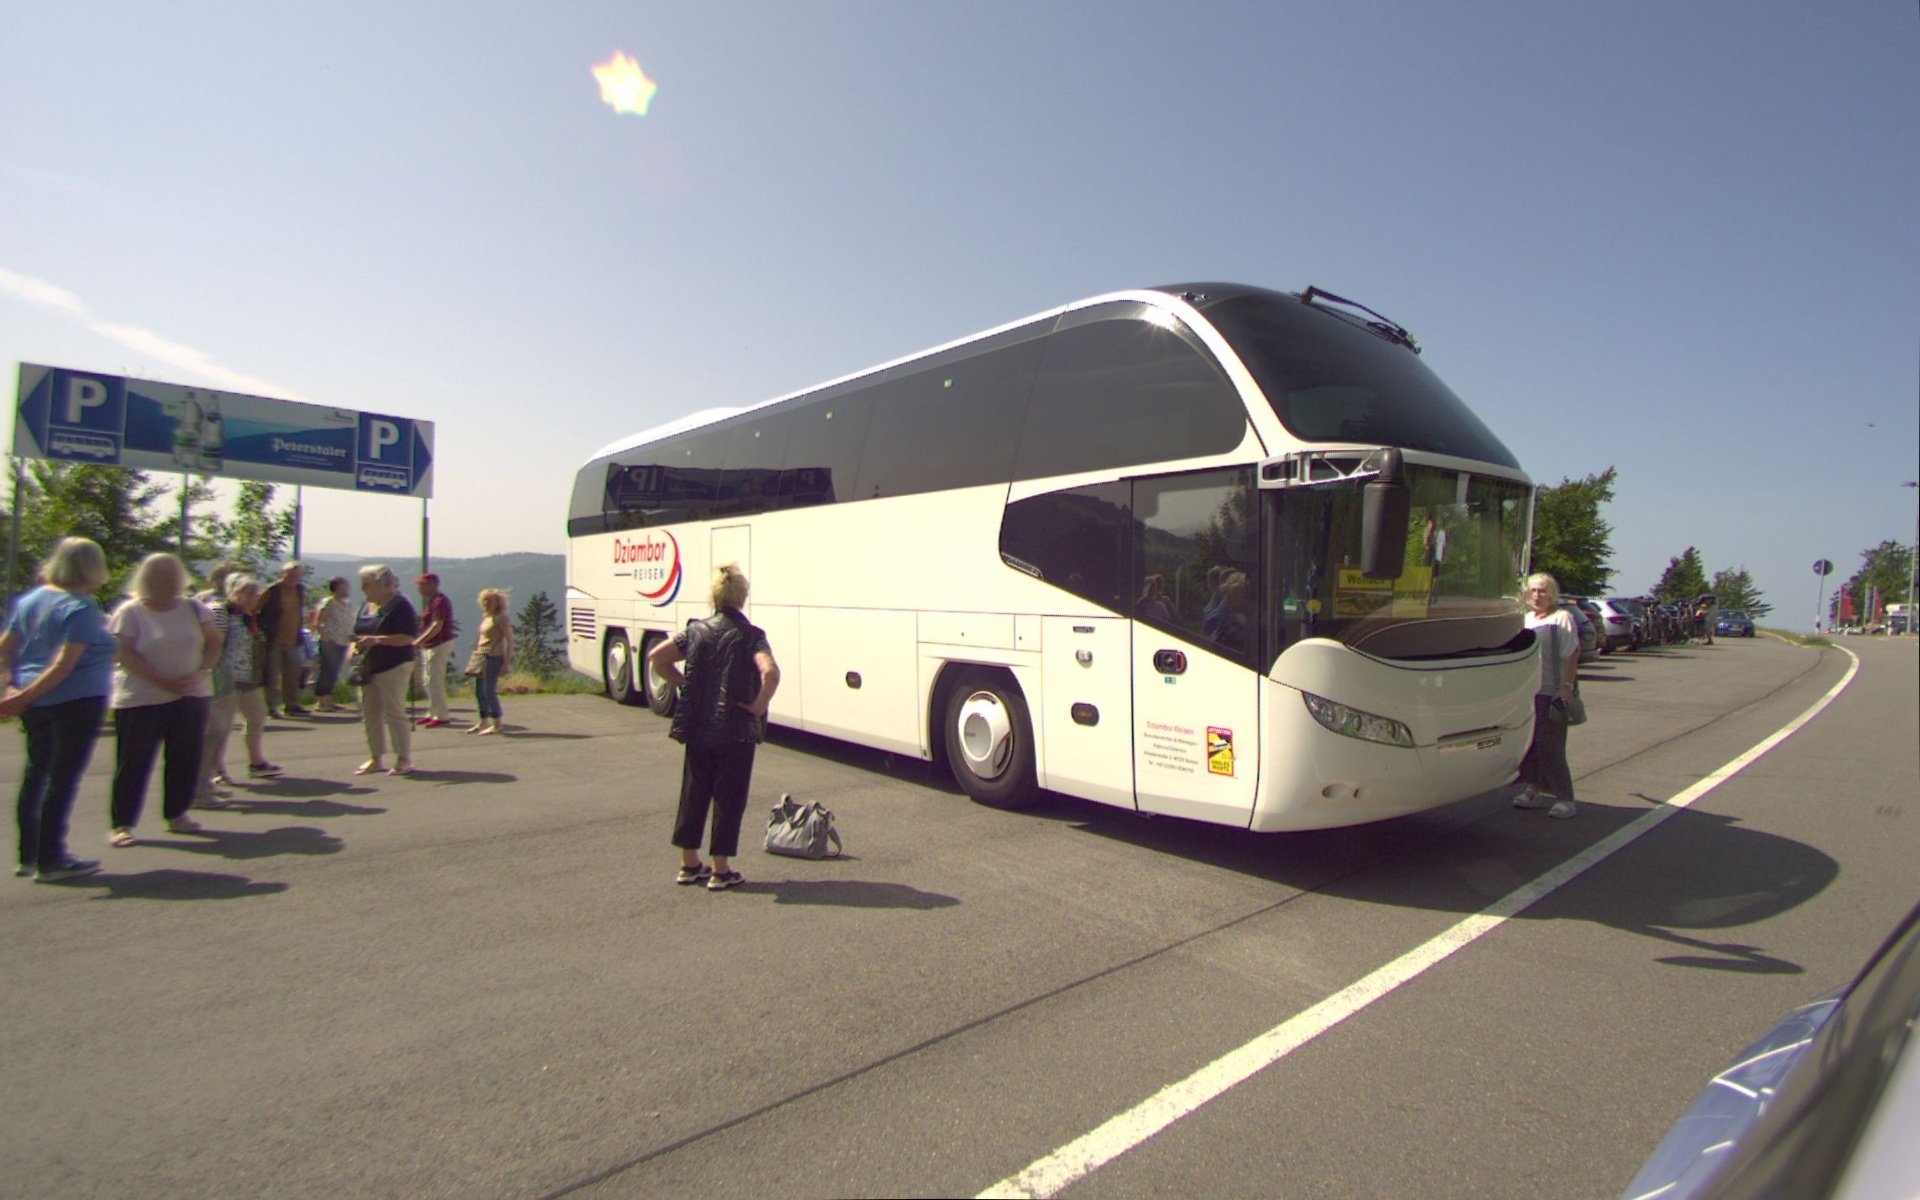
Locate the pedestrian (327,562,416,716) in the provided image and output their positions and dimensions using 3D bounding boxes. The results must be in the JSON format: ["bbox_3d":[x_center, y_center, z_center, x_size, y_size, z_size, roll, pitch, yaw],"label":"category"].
[{"bbox_3d":[-6.772,0.433,11.659,0.622,1.718,0.626,1,0,9],"label":"pedestrian"}]

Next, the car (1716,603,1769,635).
[{"bbox_3d":[41.416,0.958,53.626,1.987,1.566,3.950,1,1,35],"label":"car"}]

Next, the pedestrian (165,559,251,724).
[{"bbox_3d":[-8.083,0.426,10.904,0.615,1.718,0.633,1,0,-26],"label":"pedestrian"}]

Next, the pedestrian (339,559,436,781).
[{"bbox_3d":[-4.601,0.534,8.167,0.615,1.700,0.633,1,0,-26],"label":"pedestrian"}]

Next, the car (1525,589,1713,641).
[{"bbox_3d":[22.305,0.550,34.411,5.096,1.640,1.970,-2,-2,42],"label":"car"}]

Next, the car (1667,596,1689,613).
[{"bbox_3d":[89.533,0.595,126.298,1.985,2.039,3.954,1,1,32],"label":"car"}]

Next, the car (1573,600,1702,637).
[{"bbox_3d":[24.236,0.653,36.271,3.695,1.285,1.541,0,-2,41],"label":"car"}]

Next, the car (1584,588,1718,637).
[{"bbox_3d":[27.944,0.476,40.994,4.308,1.845,1.970,1,0,41],"label":"car"}]

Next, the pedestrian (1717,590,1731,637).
[{"bbox_3d":[30.146,0.529,39.915,0.366,1.845,0.541,2,1,39],"label":"pedestrian"}]

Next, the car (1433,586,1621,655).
[{"bbox_3d":[14.353,0.517,25.741,3.875,1.636,1.683,-1,-2,43],"label":"car"}]

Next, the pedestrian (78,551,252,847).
[{"bbox_3d":[-4.762,0.559,6.103,0.615,1.671,0.633,1,0,-15],"label":"pedestrian"}]

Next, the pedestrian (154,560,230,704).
[{"bbox_3d":[-9.467,0.378,12.489,0.615,1.718,0.633,1,0,-26],"label":"pedestrian"}]

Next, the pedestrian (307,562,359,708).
[{"bbox_3d":[-7.596,0.410,12.273,0.475,1.718,0.469,1,0,-26],"label":"pedestrian"}]

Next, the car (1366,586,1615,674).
[{"bbox_3d":[10.507,0.527,20.272,1.643,1.563,4.135,1,0,-42],"label":"car"}]

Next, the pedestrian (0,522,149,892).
[{"bbox_3d":[-4.663,0.511,5.209,0.615,1.780,0.633,1,0,-26],"label":"pedestrian"}]

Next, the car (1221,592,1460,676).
[{"bbox_3d":[7.208,0.589,19.492,1.735,1.438,3.994,0,0,-40],"label":"car"}]

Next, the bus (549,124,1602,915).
[{"bbox_3d":[-1.006,-0.507,10.610,2.787,3.622,12.881,0,1,-38],"label":"bus"}]

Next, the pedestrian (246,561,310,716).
[{"bbox_3d":[-7.785,0.419,11.568,0.498,1.718,0.633,1,0,-25],"label":"pedestrian"}]

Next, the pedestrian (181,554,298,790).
[{"bbox_3d":[-5.516,0.517,7.783,0.615,1.718,0.633,1,0,-26],"label":"pedestrian"}]

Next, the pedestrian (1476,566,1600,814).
[{"bbox_3d":[4.157,0.603,7.292,0.739,1.664,0.701,0,0,31],"label":"pedestrian"}]

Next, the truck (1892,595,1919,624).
[{"bbox_3d":[99.486,0.958,102.914,8.576,2.865,2.876,1,1,-16],"label":"truck"}]

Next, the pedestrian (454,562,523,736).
[{"bbox_3d":[-4.863,0.482,10.440,0.615,1.718,0.633,1,0,-26],"label":"pedestrian"}]

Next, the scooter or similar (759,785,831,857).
[{"bbox_3d":[-0.937,1.248,5.752,0.320,0.315,0.286,0,1,-30],"label":"scooter or similar"}]

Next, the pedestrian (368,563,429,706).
[{"bbox_3d":[-7.003,0.413,12.642,0.615,1.718,0.633,1,0,-26],"label":"pedestrian"}]

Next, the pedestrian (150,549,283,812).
[{"bbox_3d":[-5.140,0.523,7.034,0.615,1.719,0.633,1,0,-26],"label":"pedestrian"}]

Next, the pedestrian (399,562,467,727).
[{"bbox_3d":[-5.699,0.461,10.968,0.615,1.718,0.633,1,0,-26],"label":"pedestrian"}]

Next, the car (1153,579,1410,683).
[{"bbox_3d":[5.496,0.462,17.693,1.735,1.594,3.995,0,0,-40],"label":"car"}]

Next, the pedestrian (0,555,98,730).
[{"bbox_3d":[-9.346,0.416,10.369,0.615,1.718,0.633,1,0,-26],"label":"pedestrian"}]

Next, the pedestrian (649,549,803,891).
[{"bbox_3d":[-1.195,0.554,5.116,0.615,1.586,0.633,1,0,-26],"label":"pedestrian"}]

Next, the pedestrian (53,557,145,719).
[{"bbox_3d":[-9.501,0.399,11.191,0.615,1.718,0.633,1,0,-26],"label":"pedestrian"}]

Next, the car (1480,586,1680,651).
[{"bbox_3d":[17.135,0.487,28.087,4.470,1.647,1.983,0,-1,41],"label":"car"}]
